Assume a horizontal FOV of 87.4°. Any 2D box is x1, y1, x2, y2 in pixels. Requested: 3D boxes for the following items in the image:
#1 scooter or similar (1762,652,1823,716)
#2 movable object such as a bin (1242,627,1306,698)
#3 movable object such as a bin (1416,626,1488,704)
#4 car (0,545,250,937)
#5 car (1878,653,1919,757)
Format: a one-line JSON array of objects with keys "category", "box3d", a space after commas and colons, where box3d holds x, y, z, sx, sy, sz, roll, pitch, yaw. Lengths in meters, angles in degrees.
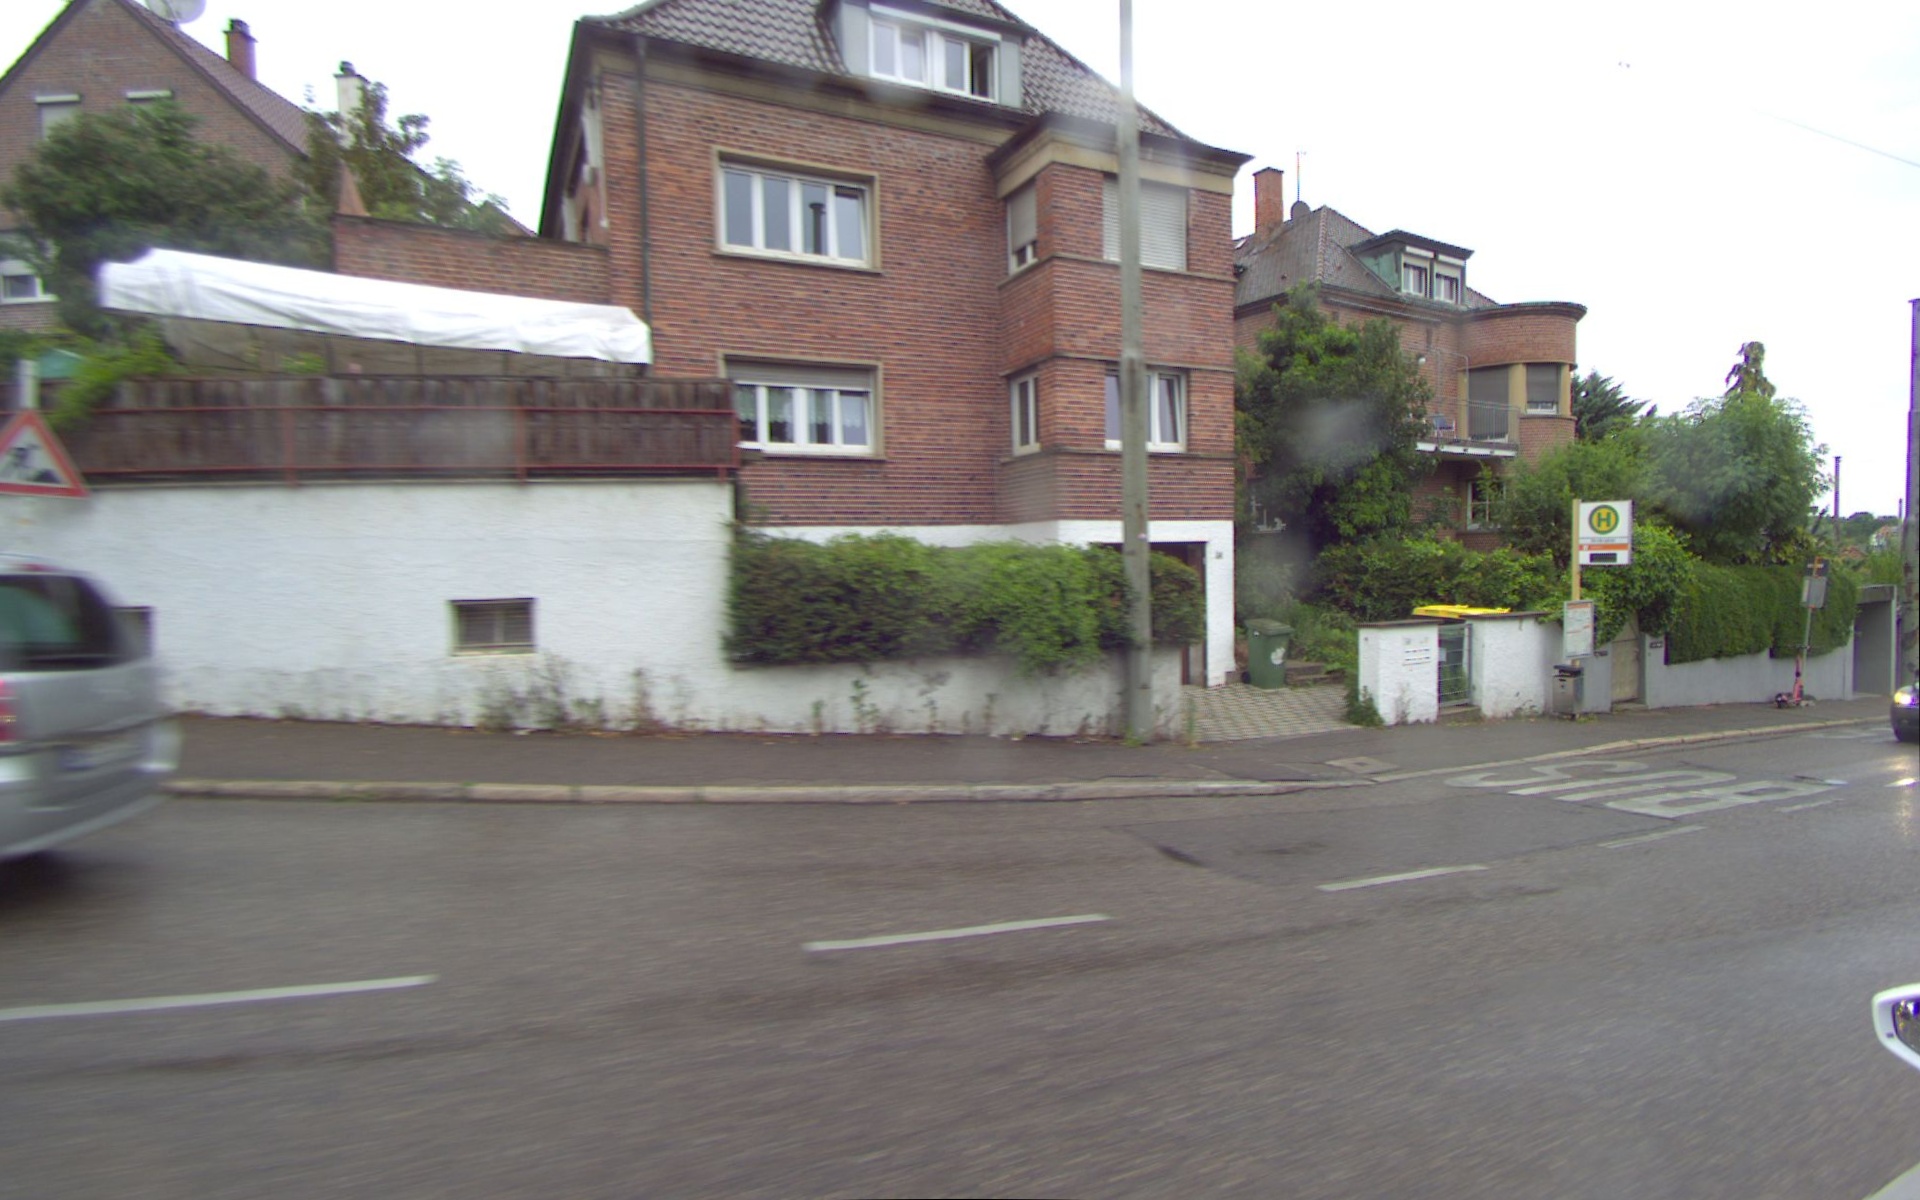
[{"category": "scooter or similar", "box3d": [16.646, 1.657, 20.076, 1.420, 1.219, 0.519, 2, -2, -33]}, {"category": "movable object such as a bin", "box3d": [5.196, 1.018, 16.637, 0.749, 1.096, 0.622, 0, 4, -24]}, {"category": "movable object such as a bin", "box3d": [7.462, 0.971, 15.238, 0.751, 1.096, 0.621, 0, 4, -30]}, {"category": "car", "box3d": [-6.013, 0.477, 4.367, 4.389, 1.606, 1.710, 3, 0, -17]}, {"category": "car", "box3d": [15.907, 1.590, 15.221, 4.563, 1.470, 1.728, 3, -2, -31]}]
